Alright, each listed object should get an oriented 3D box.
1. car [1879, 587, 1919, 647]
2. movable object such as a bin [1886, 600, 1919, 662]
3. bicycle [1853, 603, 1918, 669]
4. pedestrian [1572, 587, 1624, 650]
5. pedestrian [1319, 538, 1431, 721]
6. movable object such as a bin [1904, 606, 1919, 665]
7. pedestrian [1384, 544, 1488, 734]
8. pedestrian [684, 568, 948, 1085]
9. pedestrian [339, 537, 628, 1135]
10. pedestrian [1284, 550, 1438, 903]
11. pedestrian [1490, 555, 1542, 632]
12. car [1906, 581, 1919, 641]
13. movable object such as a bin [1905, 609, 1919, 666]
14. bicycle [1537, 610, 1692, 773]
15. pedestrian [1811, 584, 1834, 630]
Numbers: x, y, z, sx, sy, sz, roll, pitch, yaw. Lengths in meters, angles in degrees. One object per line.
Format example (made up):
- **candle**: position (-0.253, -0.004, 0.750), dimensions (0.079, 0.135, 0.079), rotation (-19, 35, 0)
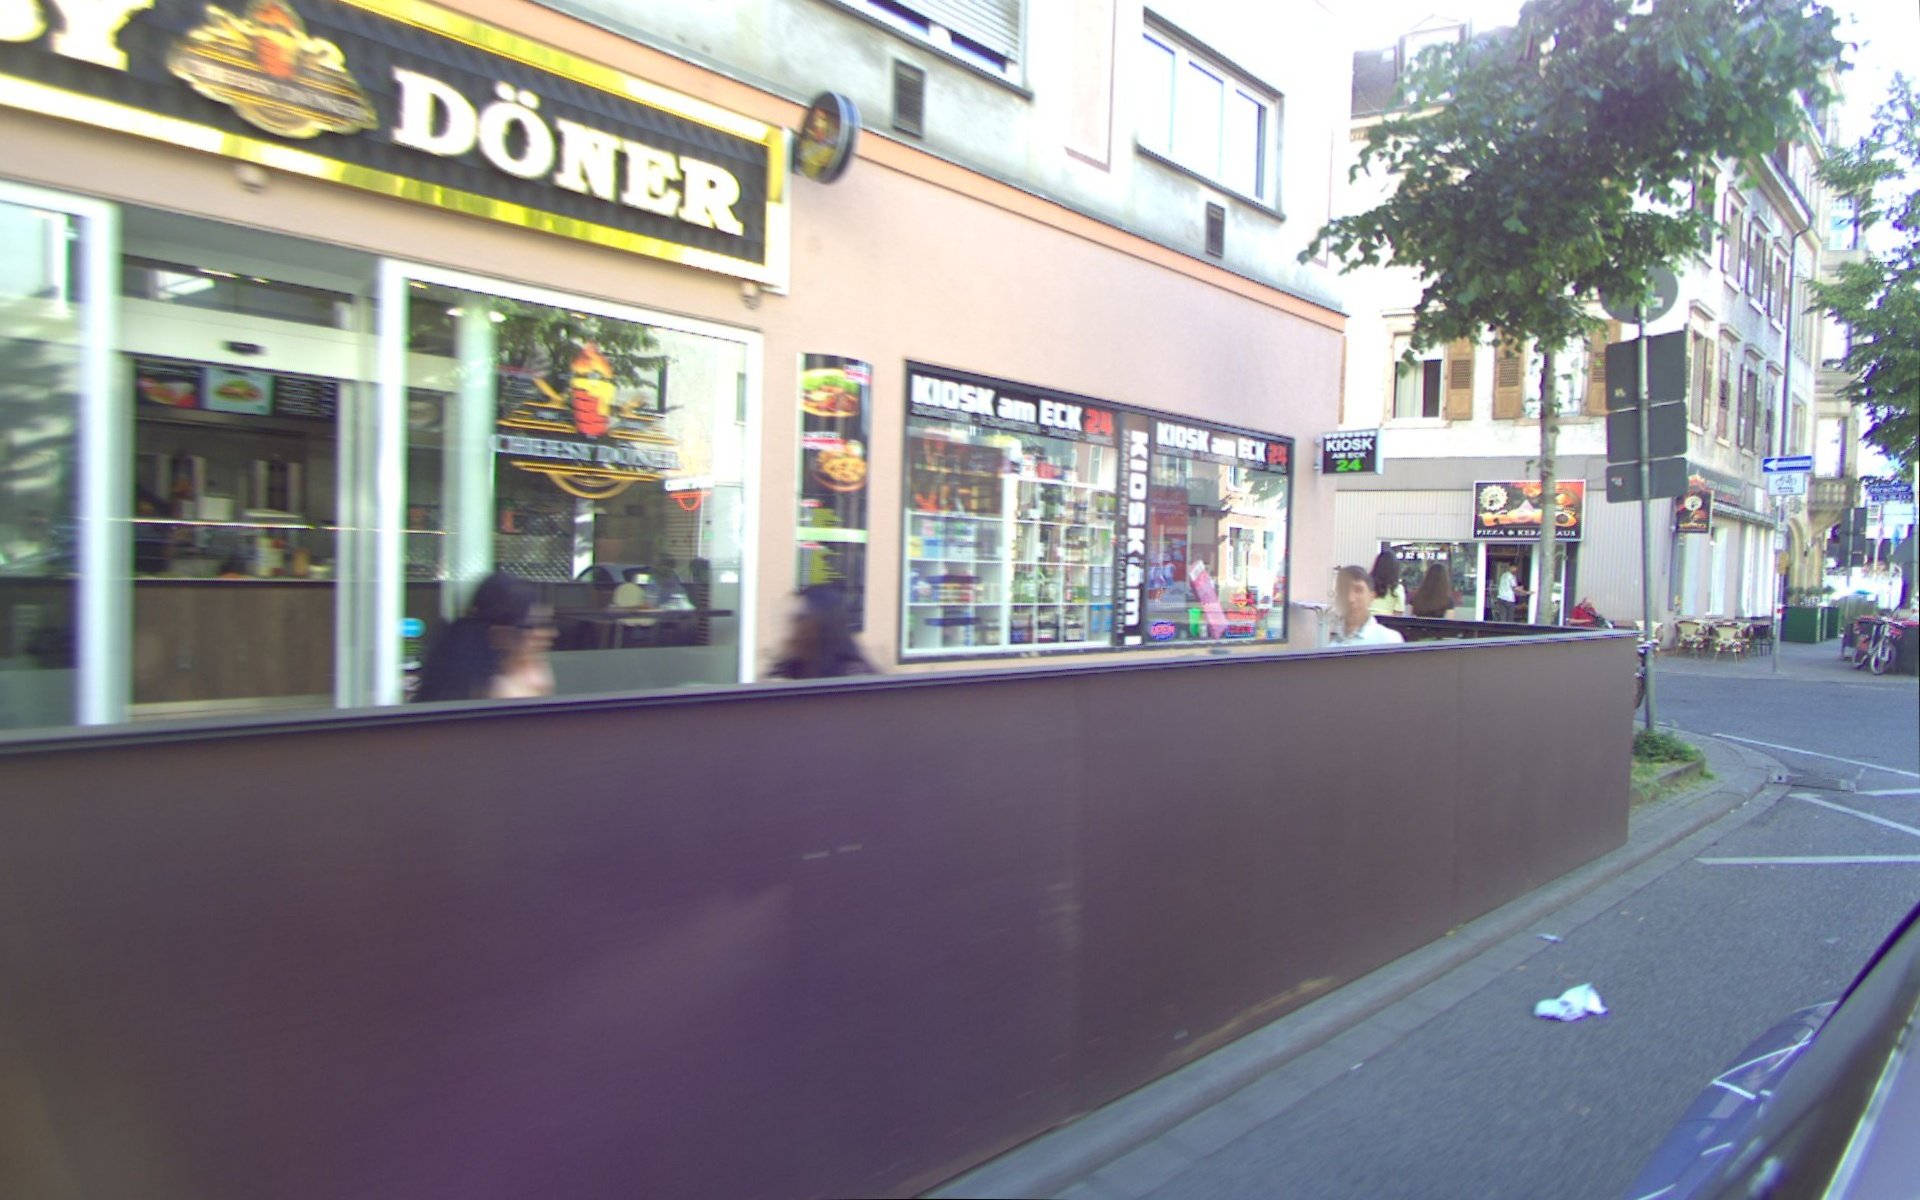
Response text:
- **car**: position (25.381, 0.462, 26.219), dimensions (4.088, 1.435, 1.834), rotation (0, 5, -42)
- **movable object such as a bin**: position (19.990, 0.655, 21.035), dimensions (0.686, 1.228, 0.944), rotation (-1, 4, -40)
- **bicycle**: position (18.543, 0.693, 20.302), dimensions (0.374, 1.159, 1.660), rotation (4, 4, 24)
- **pedestrian**: position (13.661, 0.383, 21.681), dimensions (0.701, 1.273, 0.589), rotation (2, 4, 10)
- **pedestrian**: position (4.017, 0.259, 9.803), dimensions (0.736, 1.664, 0.643), rotation (0, 4, -42)
- **movable object such as a bin**: position (19.530, 0.732, 20.319), dimensions (0.591, 1.170, 0.722), rotation (1, 2, -39)
- **pedestrian**: position (4.407, 0.335, 9.361), dimensions (0.736, 1.664, 0.514), rotation (0, 4, -42)
- **pedestrian**: position (-0.451, 0.607, 3.136), dimensions (0.584, 1.396, 0.553), rotation (0, 2, -40)
- **pedestrian**: position (-1.267, 0.533, 2.689), dimensions (0.584, 1.379, 0.474), rotation (0, 2, -40)
- **pedestrian**: position (1.881, 0.545, 4.755), dimensions (0.454, 1.548, 0.474), rotation (0, 2, -40)
- **pedestrian**: position (12.839, -0.158, 23.394), dimensions (0.787, 1.716, 0.706), rotation (2, 4, 10)
- **car**: position (29.139, 0.380, 29.457), dimensions (4.086, 1.670, 1.835), rotation (0, 4, -41)
- **movable object such as a bin**: position (19.074, 0.752, 19.868), dimensions (0.591, 1.080, 0.635), rotation (-2, 5, -39)
- **bicycle**: position (5.519, 0.693, 8.474), dimensions (2.108, 1.177, 0.508), rotation (0, 3, -42)
- **pedestrian**: position (27.842, 0.210, 32.676), dimensions (0.512, 1.460, 0.460), rotation (0, 2, -42)
